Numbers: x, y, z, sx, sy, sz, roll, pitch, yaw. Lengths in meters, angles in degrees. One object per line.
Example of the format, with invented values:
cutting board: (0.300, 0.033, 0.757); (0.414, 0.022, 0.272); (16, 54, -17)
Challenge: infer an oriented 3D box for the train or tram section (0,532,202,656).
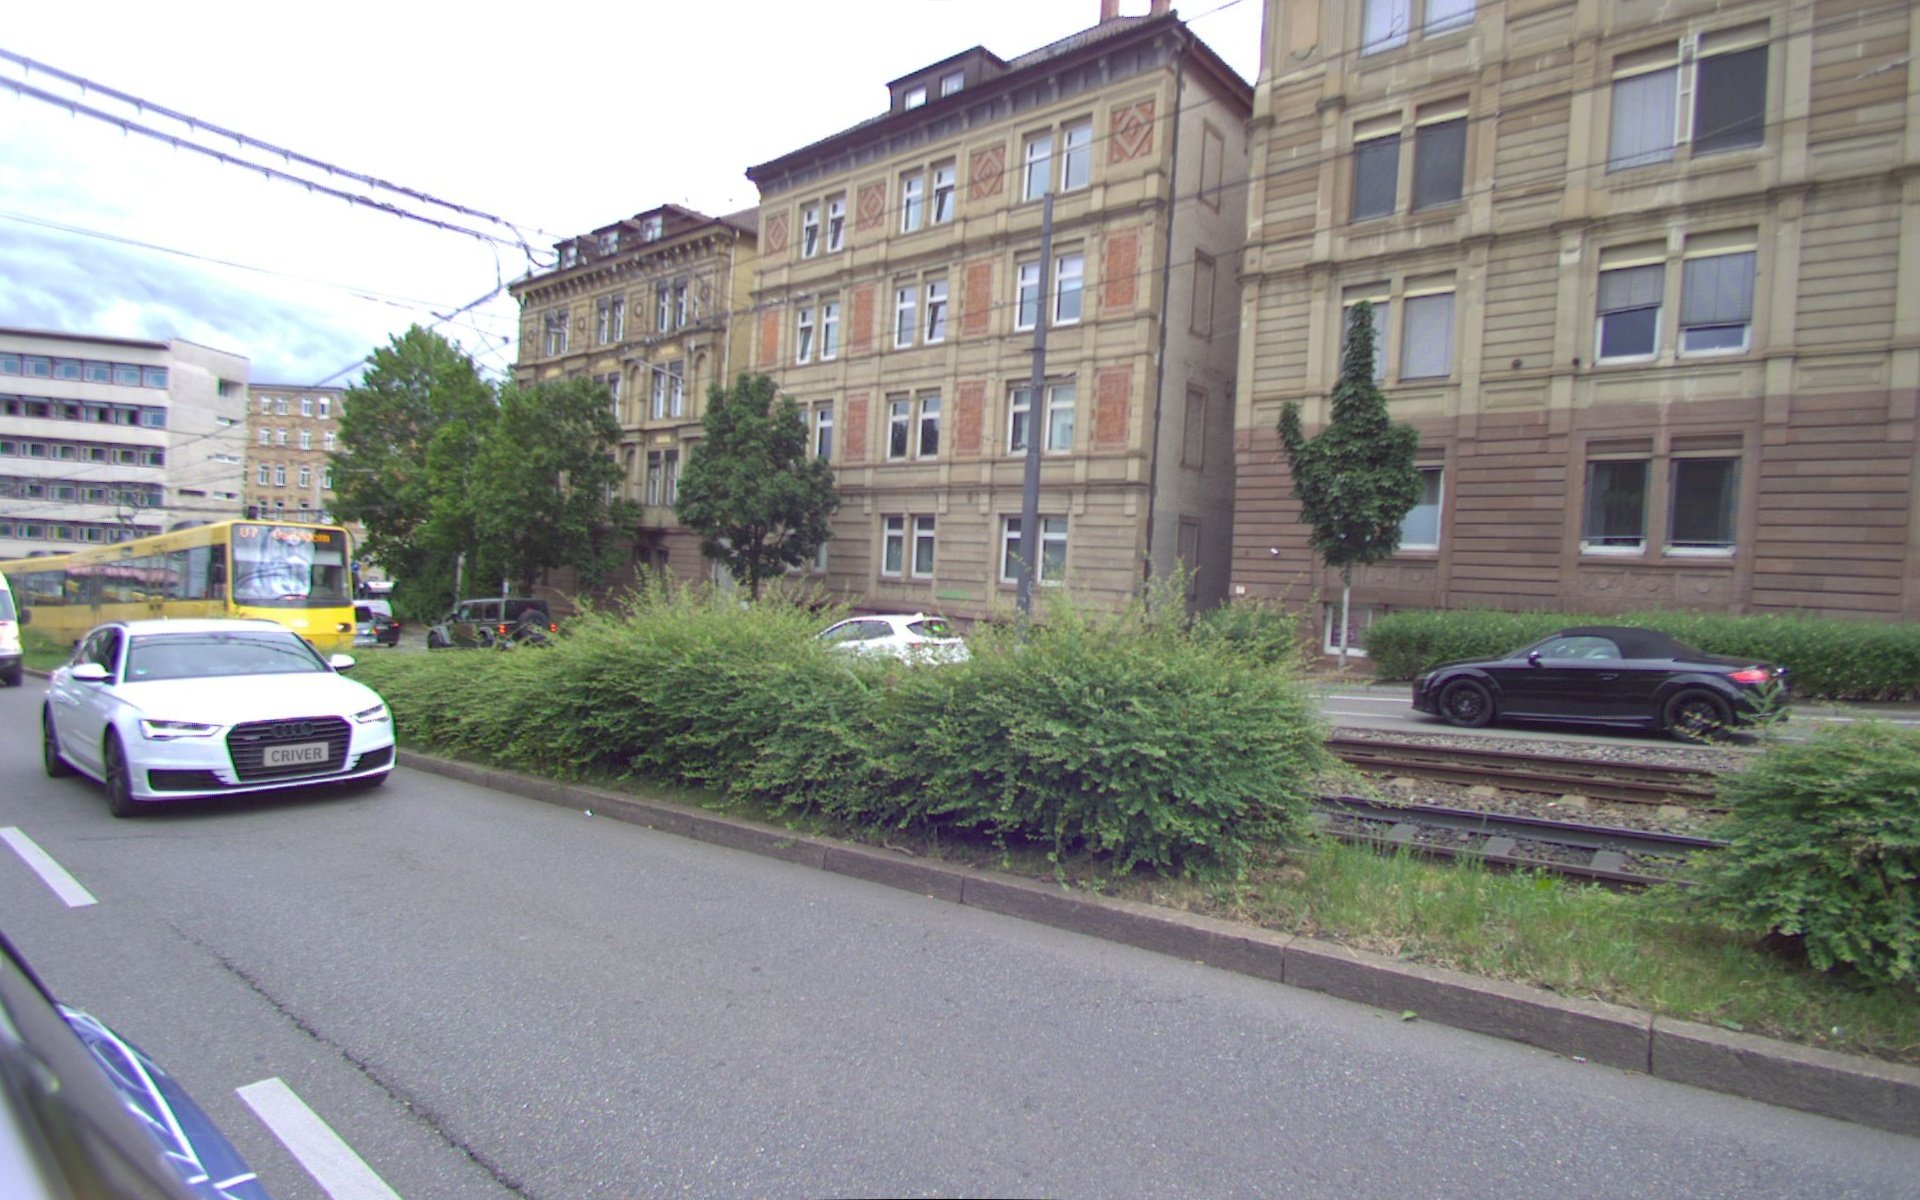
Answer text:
train or tram section: (-30.852, -0.282, 35.586); (14.205, 3.691, 2.855); (1, 1, 37)

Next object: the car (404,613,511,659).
car: (-18.412, 1.296, 37.021); (4.433, 1.566, 1.846); (0, -2, 39)

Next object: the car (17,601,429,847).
car: (-6.590, 0.820, 8.848); (4.528, 1.486, 1.873); (1, 2, 40)

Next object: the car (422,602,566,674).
car: (-13.345, 1.045, 28.881); (4.638, 1.890, 1.880); (-1, -2, 39)

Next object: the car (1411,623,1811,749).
car: (8.164, 0.973, 12.921); (4.066, 1.332, 1.721); (-1, -1, 43)

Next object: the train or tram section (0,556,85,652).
train or tram section: (-42.675, 0.041, 43.594); (14.169, 3.691, 2.863); (1, 1, 29)

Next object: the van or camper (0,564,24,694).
van or camper: (-22.160, 0.532, 22.104); (6.377, 2.577, 2.178); (3, 3, 44)

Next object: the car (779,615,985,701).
car: (-1.588, 1.068, 19.599); (4.066, 1.499, 1.721); (-2, -3, 43)

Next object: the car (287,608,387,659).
car: (-23.489, 1.214, 38.084); (4.513, 1.801, 1.860); (-1, 0, 40)

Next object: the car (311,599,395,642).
car: (-30.002, 0.962, 49.974); (4.988, 1.863, 1.974); (3, 1, 39)

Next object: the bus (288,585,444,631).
bus: (-42.339, 0.508, 72.877); (3.350, 3.052, 11.523); (0, 0, 7)

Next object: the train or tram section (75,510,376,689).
train or tram section: (-19.795, -0.145, 26.572); (14.463, 3.691, 2.853); (1, 2, 40)
